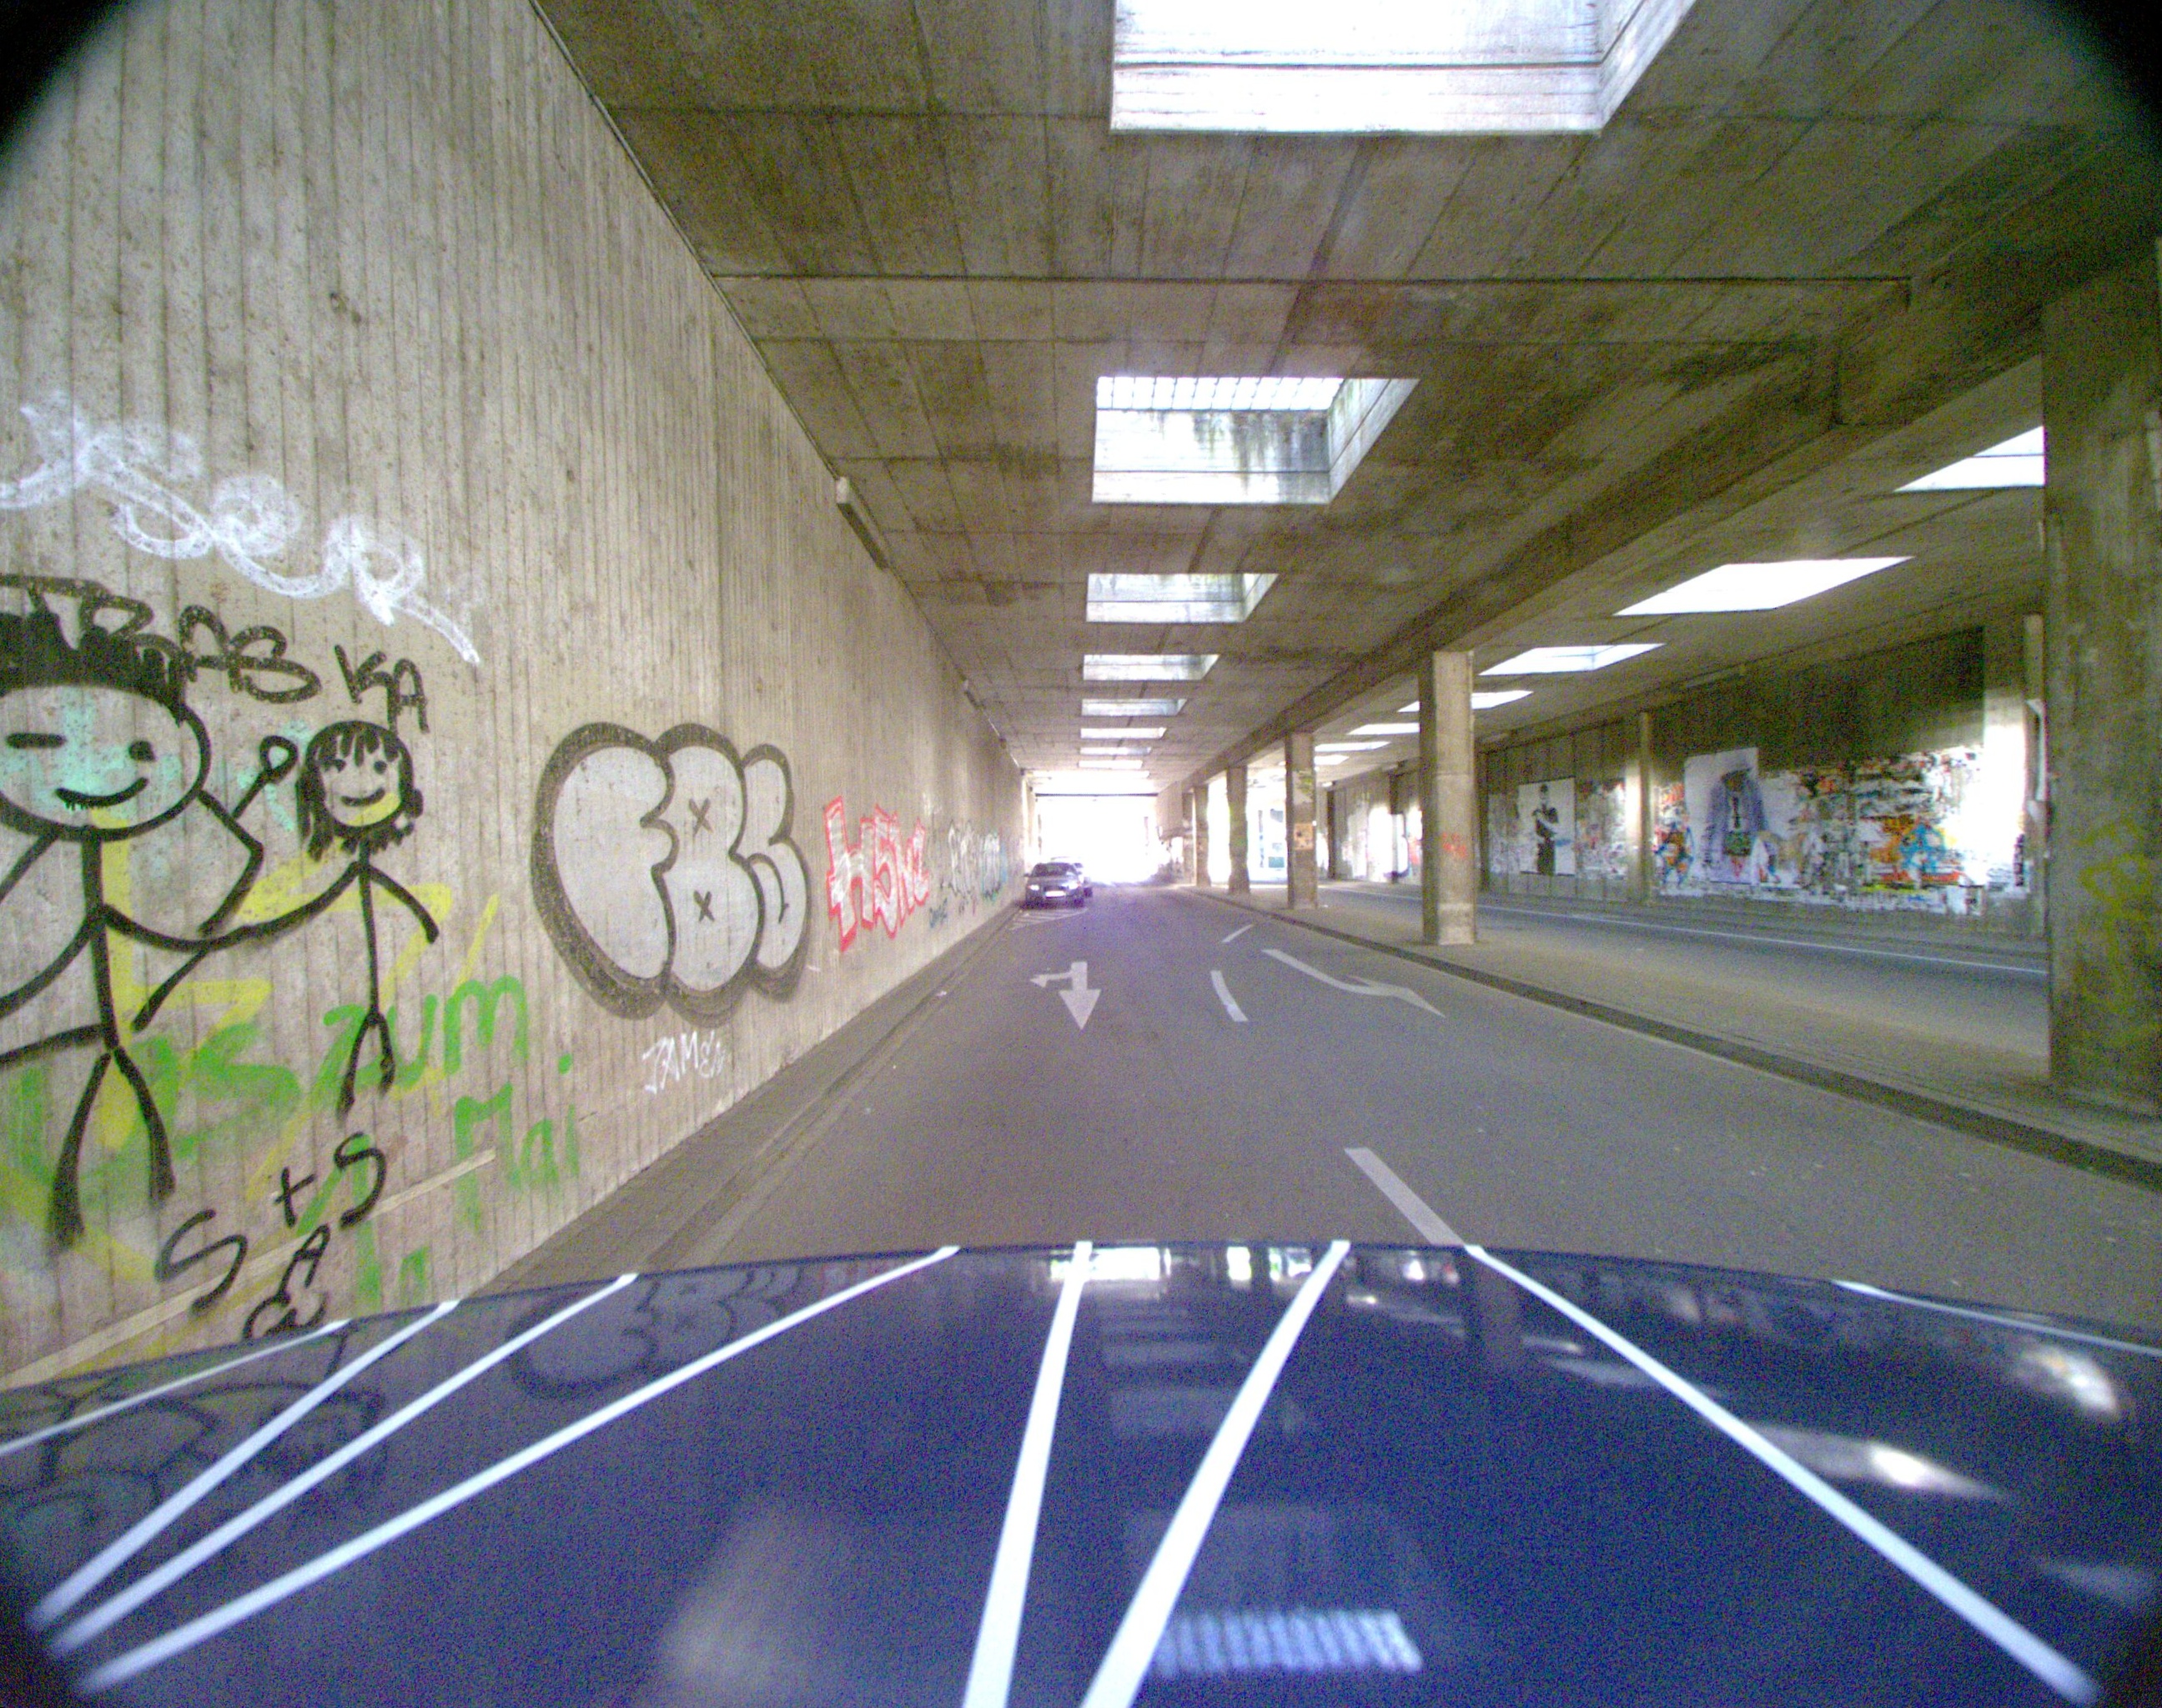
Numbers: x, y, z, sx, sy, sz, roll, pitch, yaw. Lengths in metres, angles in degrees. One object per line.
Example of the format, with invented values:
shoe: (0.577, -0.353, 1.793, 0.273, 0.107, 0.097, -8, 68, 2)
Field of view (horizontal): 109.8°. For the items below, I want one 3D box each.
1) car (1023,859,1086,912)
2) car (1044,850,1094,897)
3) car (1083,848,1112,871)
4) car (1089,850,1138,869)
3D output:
car: (-0.756, 0.918, 24.067, 1.767, 1.407, 3.999, -2, 1, 1)
car: (-0.500, 0.713, 29.803, 1.767, 1.634, 3.999, -2, 1, -2)
car: (1.292, 0.392, 61.236, 1.999, 1.740, 4.858, -2, 1, -2)
car: (3.347, 0.557, 79.019, 4.857, 1.740, 1.999, -2, 1, -2)
